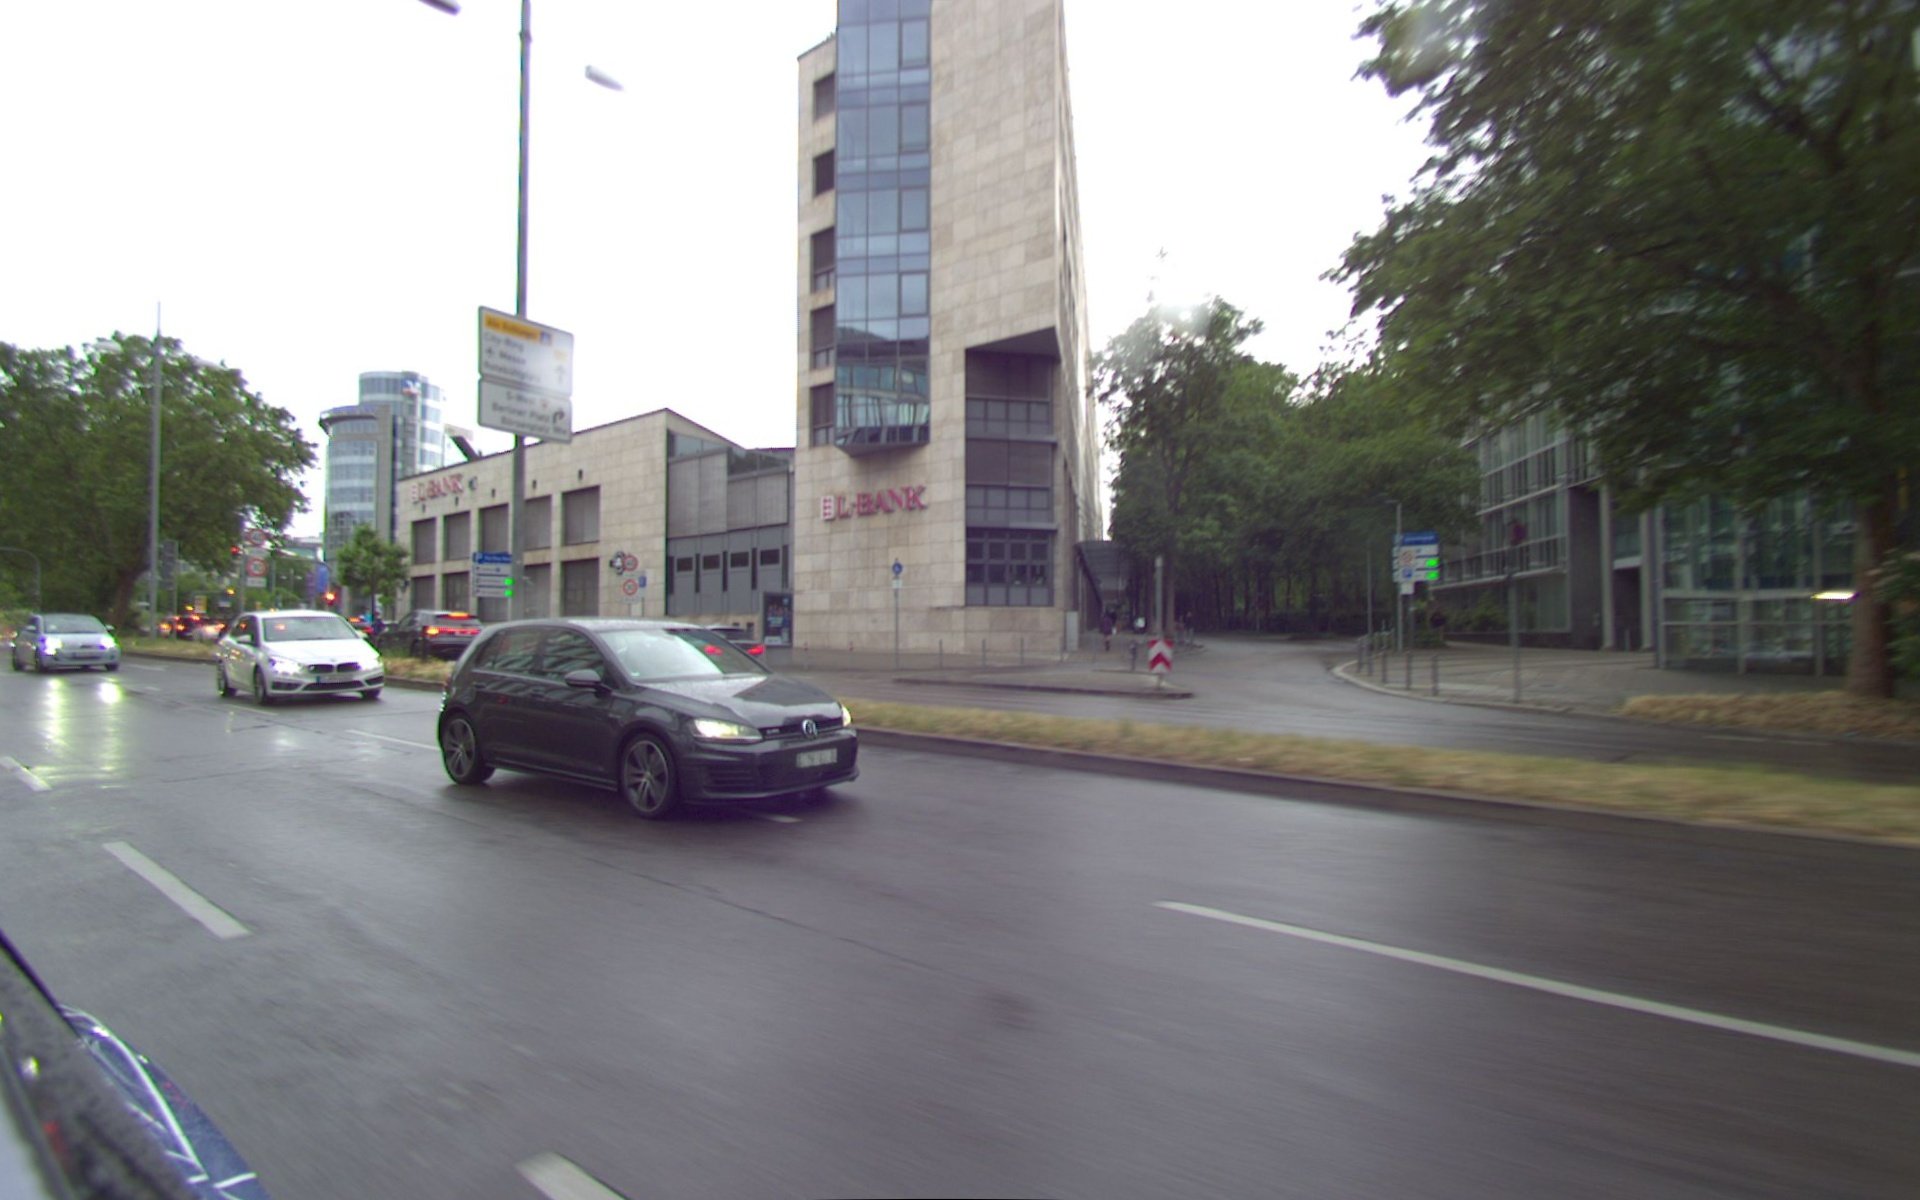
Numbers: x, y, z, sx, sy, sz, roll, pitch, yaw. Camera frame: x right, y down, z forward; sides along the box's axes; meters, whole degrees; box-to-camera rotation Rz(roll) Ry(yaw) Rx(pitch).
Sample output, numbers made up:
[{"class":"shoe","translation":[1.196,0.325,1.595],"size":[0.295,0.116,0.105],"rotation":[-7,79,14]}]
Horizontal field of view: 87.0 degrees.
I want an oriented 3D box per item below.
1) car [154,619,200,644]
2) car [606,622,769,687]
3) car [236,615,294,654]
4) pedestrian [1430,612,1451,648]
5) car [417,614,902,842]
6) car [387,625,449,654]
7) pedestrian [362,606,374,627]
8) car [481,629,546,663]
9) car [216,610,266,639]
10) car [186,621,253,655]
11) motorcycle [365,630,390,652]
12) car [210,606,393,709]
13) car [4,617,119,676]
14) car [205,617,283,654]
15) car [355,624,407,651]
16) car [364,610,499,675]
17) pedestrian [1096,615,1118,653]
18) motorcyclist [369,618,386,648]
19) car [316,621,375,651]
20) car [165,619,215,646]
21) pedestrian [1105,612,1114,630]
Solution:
[{"class":"car","translation":[-46.175,1.830,59.676],"size":[1.726,1.375,4.135],"rotation":[2,-1,-43]},{"class":"car","translation":[-7.037,1.318,25.874],"size":[4.757,1.449,1.673],"rotation":[0,-1,41]},{"class":"car","translation":[-38.687,1.886,56.283],"size":[1.809,2.017,5.108],"rotation":[2,-2,-44]},{"class":"pedestrian","translation":[21.907,1.361,46.127],"size":[0.738,1.643,0.653],"rotation":[-2,-2,19]},{"class":"car","translation":[-2.629,0.861,8.461],"size":[4.114,1.463,1.768],"rotation":[-1,-1,36]},{"class":"car","translation":[-29.496,2.127,55.038],"size":[1.727,1.426,4.708],"rotation":[2,-2,-44]},{"class":"pedestrian","translation":[-54.340,1.486,92.908],"size":[1.125,1.939,0.582],"rotation":[-1,-1,41]},{"class":"car","translation":[-20.238,2.055,45.827],"size":[1.574,1.426,3.403],"rotation":[2,-2,-44]},{"class":"car","translation":[-43.429,1.474,61.063],"size":[1.810,1.652,4.094],"rotation":[2,-2,-45]},{"class":"car","translation":[-35.933,1.817,49.053],"size":[4.315,1.453,1.839],"rotation":[0,-5,44]},{"class":"motorcycle","translation":[-30.558,2.158,53.044],"size":[2.032,1.139,0.543],"rotation":[-2,-2,42]},{"class":"car","translation":[-11.716,0.925,17.914],"size":[3.999,1.608,1.757],"rotation":[0,-1,42]},{"class":"car","translation":[-24.086,1.204,27.104],"size":[3.487,1.452,1.593],"rotation":[-1,0,36]},{"class":"car","translation":[-30.446,1.491,42.992],"size":[4.581,1.448,1.682],"rotation":[0,-1,42]},{"class":"car","translation":[-34.333,2.197,59.969],"size":[1.726,1.426,4.297],"rotation":[2,-1,-43]},{"class":"car","translation":[-15.271,1.177,29.136],"size":[4.678,1.693,1.854],"rotation":[0,-1,41]},{"class":"pedestrian","translation":[6.204,1.421,42.735],"size":[0.815,1.582,0.664],"rotation":[-2,-2,19]},{"class":"motorcyclist","translation":[-30.490,1.708,52.978],"size":[0.973,1.541,0.514],"rotation":[-2,-2,42]},{"class":"car","translation":[-34.380,1.973,56.610],"size":[4.642,1.544,1.707],"rotation":[0,-2,45]},{"class":"car","translation":[-41.520,1.732,54.551],"size":[1.726,1.375,3.947],"rotation":[2,-2,-44]},{"class":"pedestrian","translation":[13.064,1.852,88.339],"size":[0.695,1.582,0.540],"rotation":[-1,-2,11]}]
